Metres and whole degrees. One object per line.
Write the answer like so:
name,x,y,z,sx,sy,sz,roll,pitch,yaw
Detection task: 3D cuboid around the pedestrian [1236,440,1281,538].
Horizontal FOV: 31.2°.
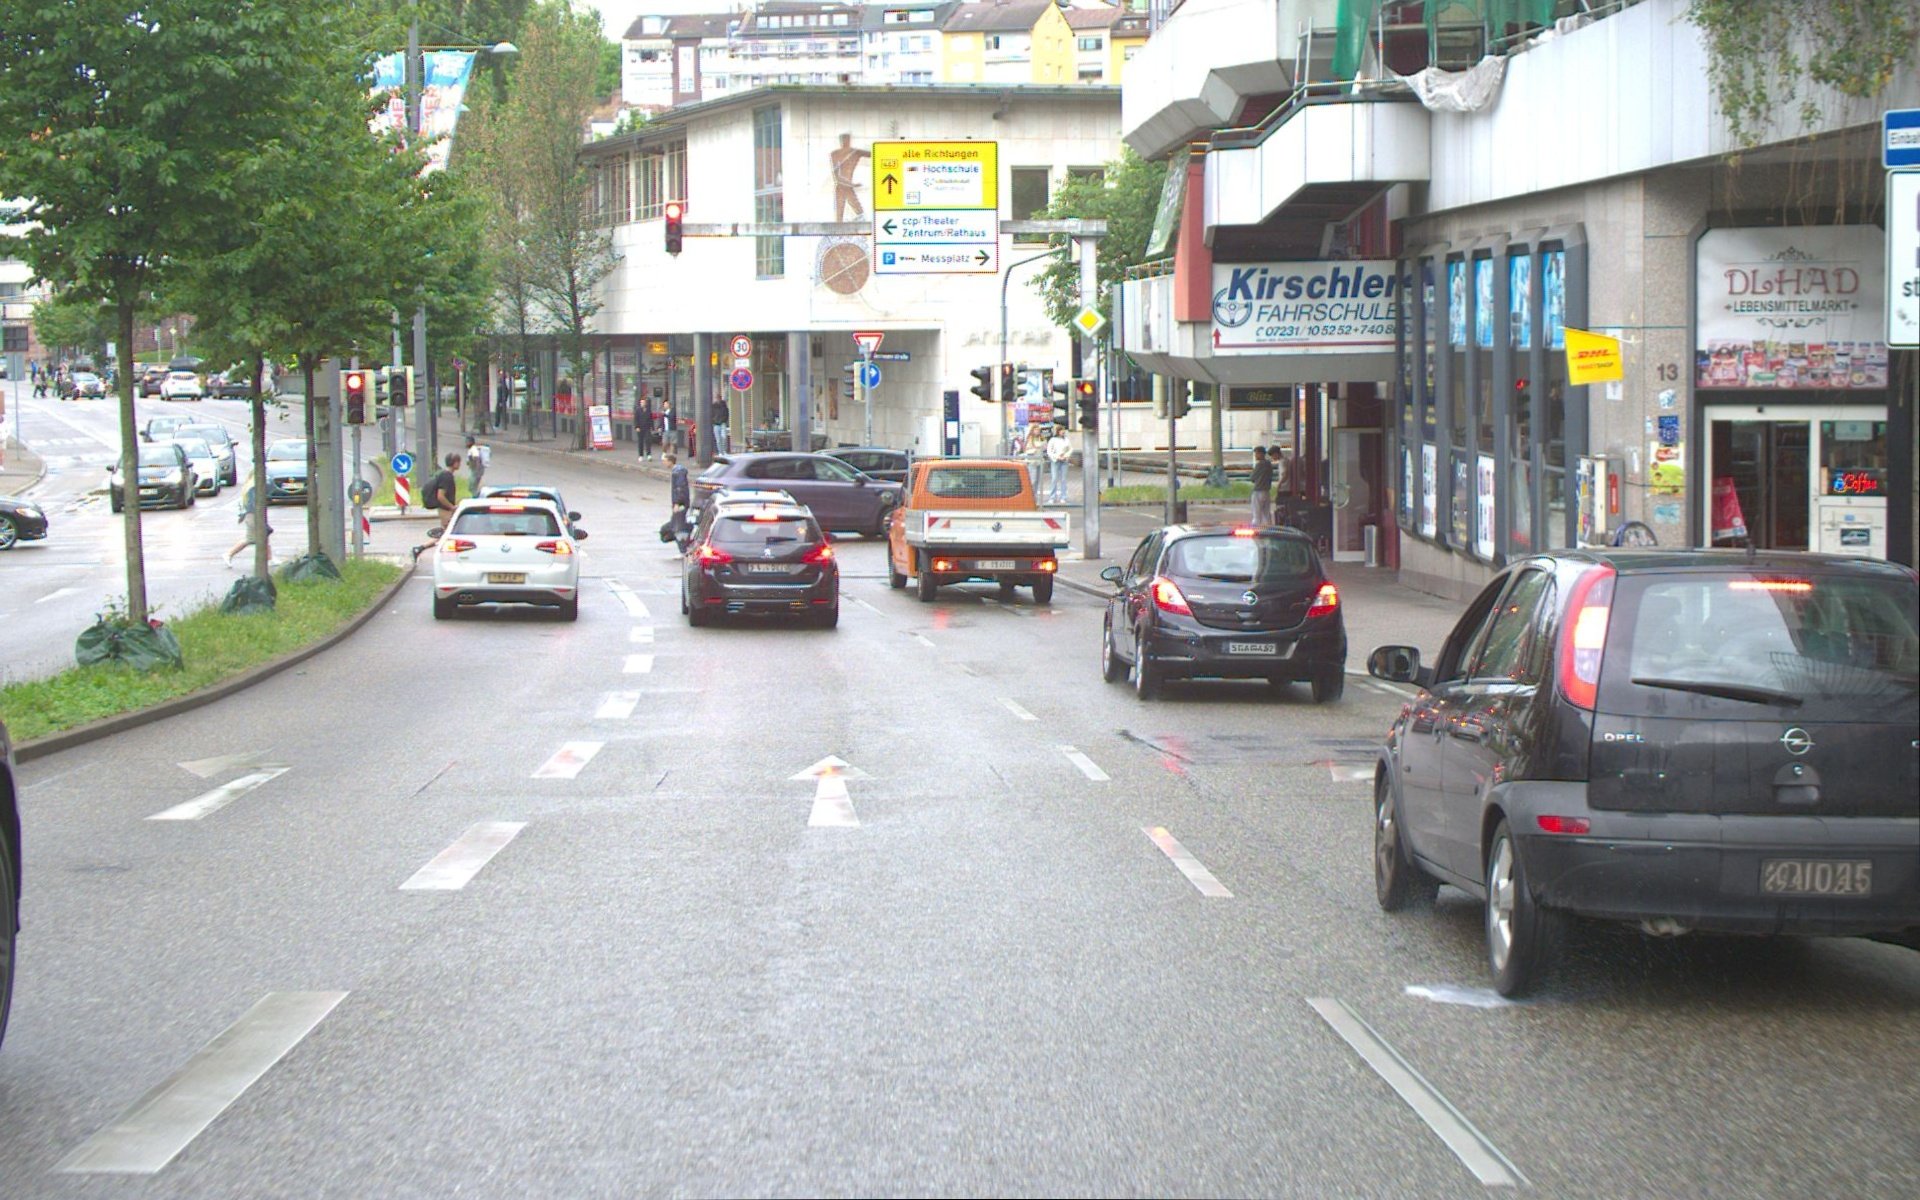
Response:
pedestrian,5.237,-1.941,60.349,0.575,1.694,0.651,-2,2,-13

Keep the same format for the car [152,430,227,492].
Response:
car,-19.487,-3.513,87.061,1.777,1.543,4.002,-1,2,-12

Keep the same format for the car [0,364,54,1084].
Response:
car,-3.360,0.364,6.691,2.087,1.810,4.793,1,2,-3

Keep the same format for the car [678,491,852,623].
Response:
car,-2.429,-0.556,41.973,1.811,1.436,4.002,1,3,-7

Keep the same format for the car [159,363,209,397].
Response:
car,-39.140,-11.106,173.405,1.993,1.590,4.001,-1,2,-19

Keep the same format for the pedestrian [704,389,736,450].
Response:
pedestrian,-7.265,-5.454,104.062,0.702,1.796,0.939,-2,2,-18

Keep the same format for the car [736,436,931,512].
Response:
car,-2.630,-2.629,71.500,3.986,1.522,1.848,-1,2,-2

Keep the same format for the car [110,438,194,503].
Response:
car,-18.652,-2.998,79.458,1.706,1.446,3.863,-1,2,-11

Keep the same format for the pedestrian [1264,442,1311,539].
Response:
pedestrian,5.790,-1.933,60.727,0.575,1.694,0.651,-2,2,-17

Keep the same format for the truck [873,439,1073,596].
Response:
truck,0.109,-1.210,48.725,2.183,2.075,5.605,-1,2,-6

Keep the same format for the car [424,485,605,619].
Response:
car,-5.483,-0.637,42.765,1.949,1.568,4.001,0,2,-3

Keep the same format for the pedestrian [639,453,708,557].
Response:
pedestrian,-4.836,-1.612,58.084,1.010,1.716,0.838,-2,2,1

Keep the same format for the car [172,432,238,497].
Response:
car,-20.576,-3.682,93.722,1.705,1.714,4.002,-1,2,-12

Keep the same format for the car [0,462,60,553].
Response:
car,-18.928,-1.721,62.887,4.681,1.638,1.787,0,2,-18

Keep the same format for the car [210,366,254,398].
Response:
car,-37.791,-11.306,178.432,1.831,1.583,3.875,-1,2,-18

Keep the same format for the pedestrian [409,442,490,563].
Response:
pedestrian,-8.114,-1.558,54.627,1.063,1.875,0.838,-2,2,3

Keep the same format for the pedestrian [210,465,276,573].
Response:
pedestrian,-11.676,-1.331,56.020,0.835,1.716,0.819,-2,2,0

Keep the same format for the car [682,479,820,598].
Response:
car,-3.009,-0.910,48.963,1.760,1.537,4.001,0,3,-6

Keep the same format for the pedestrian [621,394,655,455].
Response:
pedestrian,-9.721,-5.296,103.753,0.798,1.796,0.918,-2,2,-18

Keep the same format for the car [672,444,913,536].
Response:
car,-3.115,-2.045,63.642,4.147,1.651,1.842,-1,2,-15

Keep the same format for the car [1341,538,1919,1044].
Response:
car,2.404,0.526,11.951,1.717,1.415,3.770,-1,2,0

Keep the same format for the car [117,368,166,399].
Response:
car,-43.670,-11.523,183.406,1.748,1.549,3.570,-1,2,-26

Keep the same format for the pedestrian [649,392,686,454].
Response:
pedestrian,-8.787,-5.315,103.336,0.846,1.796,1.056,-2,2,-18

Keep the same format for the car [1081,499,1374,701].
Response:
car,2.216,-0.057,29.536,1.949,1.568,4.001,0,2,-4

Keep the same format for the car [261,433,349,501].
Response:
car,-15.336,-3.115,80.612,1.819,1.543,4.001,-1,2,-8

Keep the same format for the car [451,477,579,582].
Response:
car,-6.525,-1.072,50.681,1.794,1.463,4.001,0,2,-6
